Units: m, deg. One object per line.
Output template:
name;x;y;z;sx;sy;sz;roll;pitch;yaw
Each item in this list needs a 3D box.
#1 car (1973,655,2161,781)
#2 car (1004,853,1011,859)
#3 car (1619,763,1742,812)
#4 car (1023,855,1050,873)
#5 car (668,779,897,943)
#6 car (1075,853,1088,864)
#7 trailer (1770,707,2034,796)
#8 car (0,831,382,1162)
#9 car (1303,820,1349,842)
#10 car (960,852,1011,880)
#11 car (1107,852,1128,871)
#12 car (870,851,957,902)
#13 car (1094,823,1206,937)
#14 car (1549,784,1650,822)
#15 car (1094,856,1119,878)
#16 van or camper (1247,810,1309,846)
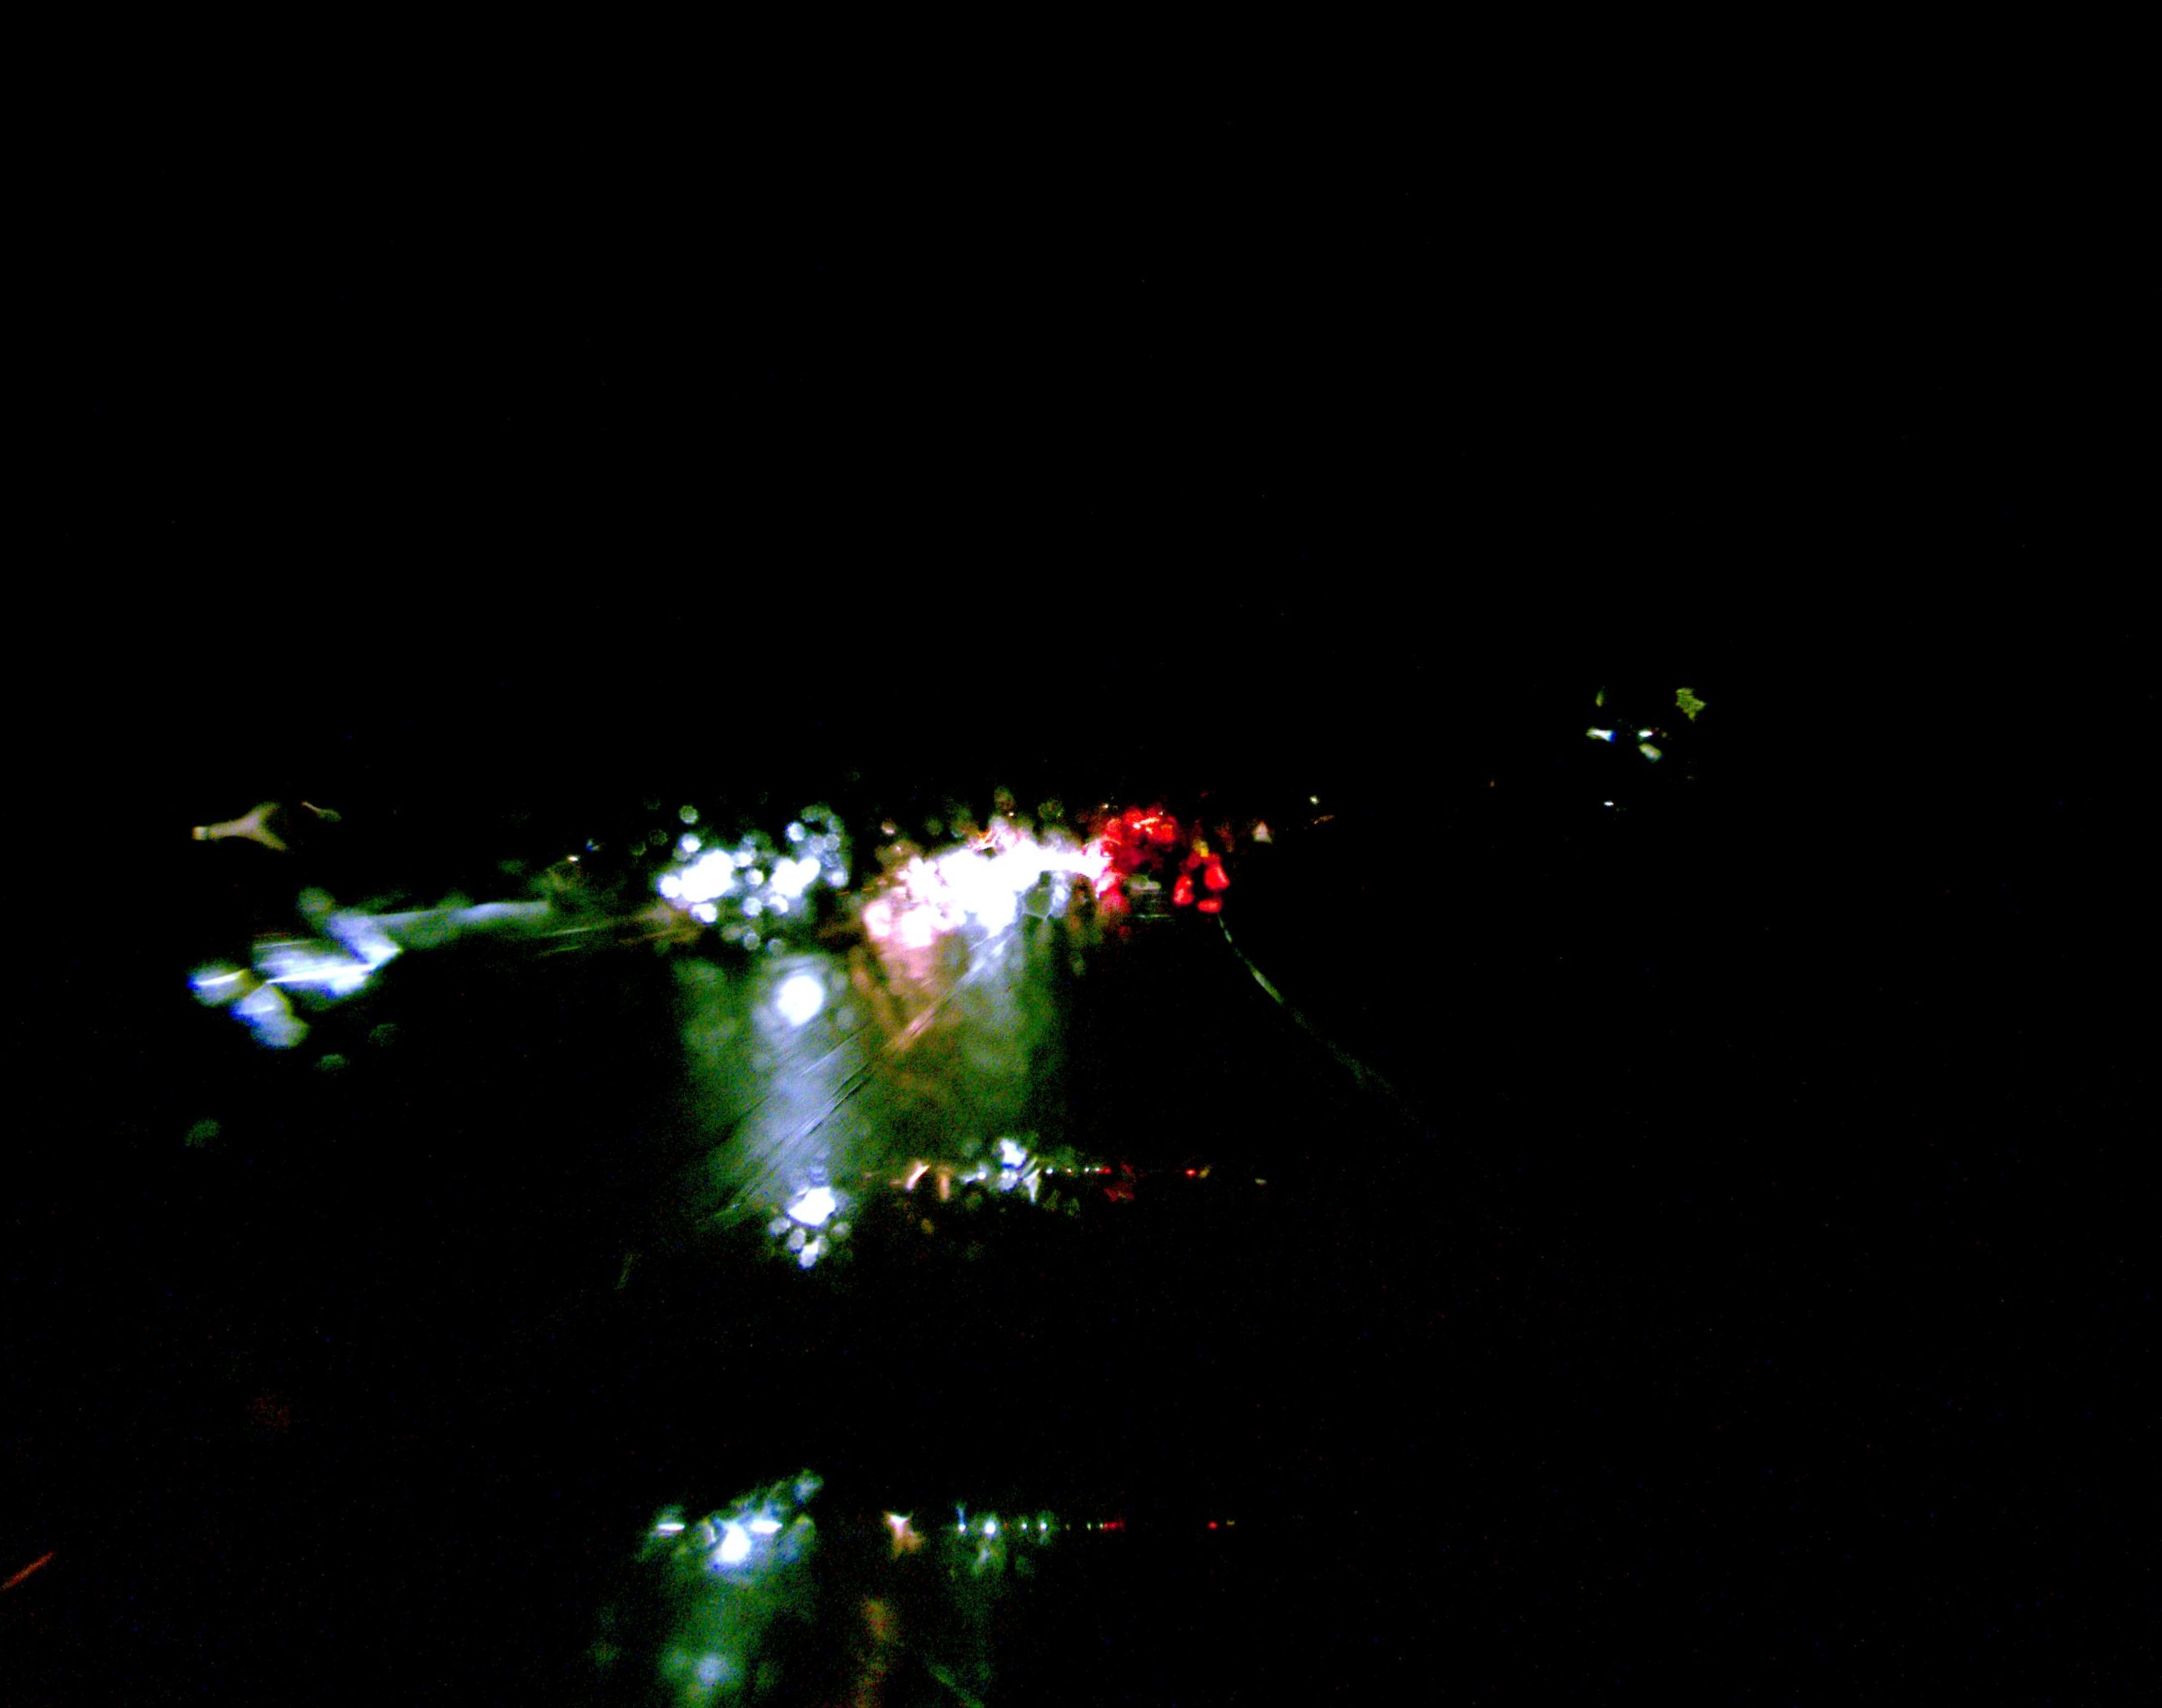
car;26.630;-3.419;20.456;2.113;2.635;5.434;-1;0;-9
car;-21.544;0.539;239.825;1.990;1.912;4.734;0;0;-5
car;24.346;-2.663;33.252;1.613;1.640;3.984;0;0;-11
car;-3.652;0.820;68.204;1.911;1.444;4.547;0;0;1
car;-5.648;0.109;16.593;2.114;2.707;6.244;0;0;2
car;0.069;0.629;108.723;1.689;1.434;4.293;0;0;1
trailer;25.746;-3.092;25.952;2.225;2.072;5.703;-1;0;-9
car;-6.046;0.687;3.818;1.714;1.588;4.314;0;0;2
car;18.784;-1.753;62.709;1.637;1.618;4.117;0;0;-12
car;-5.127;0.608;44.516;2.069;1.449;4.993;0;0;1
car;3.440;0.692;77.049;1.700;1.638;3.737;-2;0;6
car;-5.321;0.662;26.394;1.871;1.537;3.989;0;0;2
car;1.348;0.439;16.289;1.934;1.972;4.222;0;0;4
car;23.699;-2.304;37.394;1.613;1.472;3.984;0;0;-11
car;1.973;0.971;61.923;1.686;1.630;3.858;0;-1;5
van or camper;16.731;-2.173;69.612;2.583;2.908;6.329;-1;0;-14
